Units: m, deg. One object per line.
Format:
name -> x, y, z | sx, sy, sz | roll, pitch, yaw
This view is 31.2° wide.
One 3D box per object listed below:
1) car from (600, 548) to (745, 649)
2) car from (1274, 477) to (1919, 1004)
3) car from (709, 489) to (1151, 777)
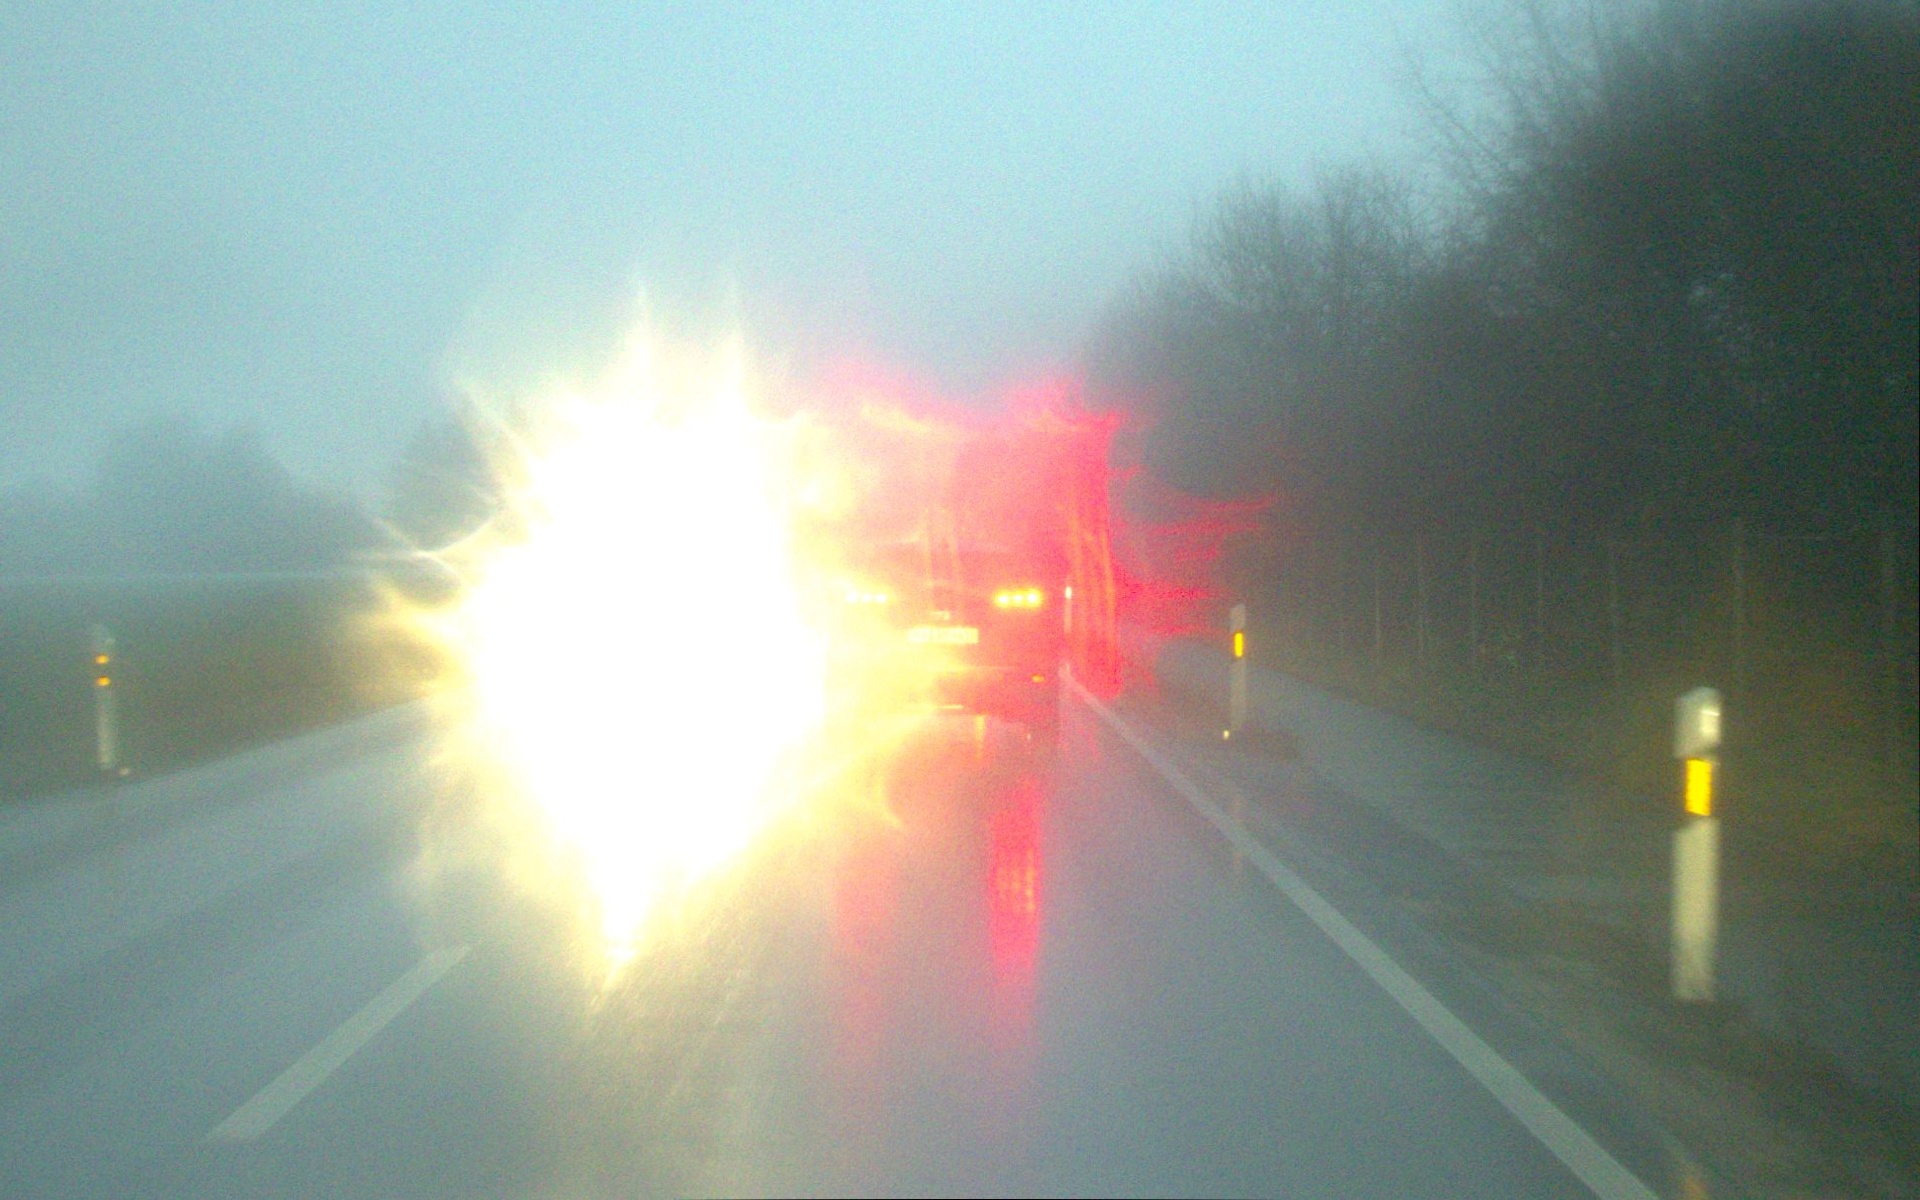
car -> -4.726, -0.052, 57.159 | 1.993, 1.458, 4.352 | -4, 1, -1
car -> 2.403, 0.449, 13.450 | 1.928, 1.744, 4.000 | 0, 1, -1
car -> -0.236, 0.172, 28.329 | 3.164, 2.028, 6.852 | -1, 1, 0
